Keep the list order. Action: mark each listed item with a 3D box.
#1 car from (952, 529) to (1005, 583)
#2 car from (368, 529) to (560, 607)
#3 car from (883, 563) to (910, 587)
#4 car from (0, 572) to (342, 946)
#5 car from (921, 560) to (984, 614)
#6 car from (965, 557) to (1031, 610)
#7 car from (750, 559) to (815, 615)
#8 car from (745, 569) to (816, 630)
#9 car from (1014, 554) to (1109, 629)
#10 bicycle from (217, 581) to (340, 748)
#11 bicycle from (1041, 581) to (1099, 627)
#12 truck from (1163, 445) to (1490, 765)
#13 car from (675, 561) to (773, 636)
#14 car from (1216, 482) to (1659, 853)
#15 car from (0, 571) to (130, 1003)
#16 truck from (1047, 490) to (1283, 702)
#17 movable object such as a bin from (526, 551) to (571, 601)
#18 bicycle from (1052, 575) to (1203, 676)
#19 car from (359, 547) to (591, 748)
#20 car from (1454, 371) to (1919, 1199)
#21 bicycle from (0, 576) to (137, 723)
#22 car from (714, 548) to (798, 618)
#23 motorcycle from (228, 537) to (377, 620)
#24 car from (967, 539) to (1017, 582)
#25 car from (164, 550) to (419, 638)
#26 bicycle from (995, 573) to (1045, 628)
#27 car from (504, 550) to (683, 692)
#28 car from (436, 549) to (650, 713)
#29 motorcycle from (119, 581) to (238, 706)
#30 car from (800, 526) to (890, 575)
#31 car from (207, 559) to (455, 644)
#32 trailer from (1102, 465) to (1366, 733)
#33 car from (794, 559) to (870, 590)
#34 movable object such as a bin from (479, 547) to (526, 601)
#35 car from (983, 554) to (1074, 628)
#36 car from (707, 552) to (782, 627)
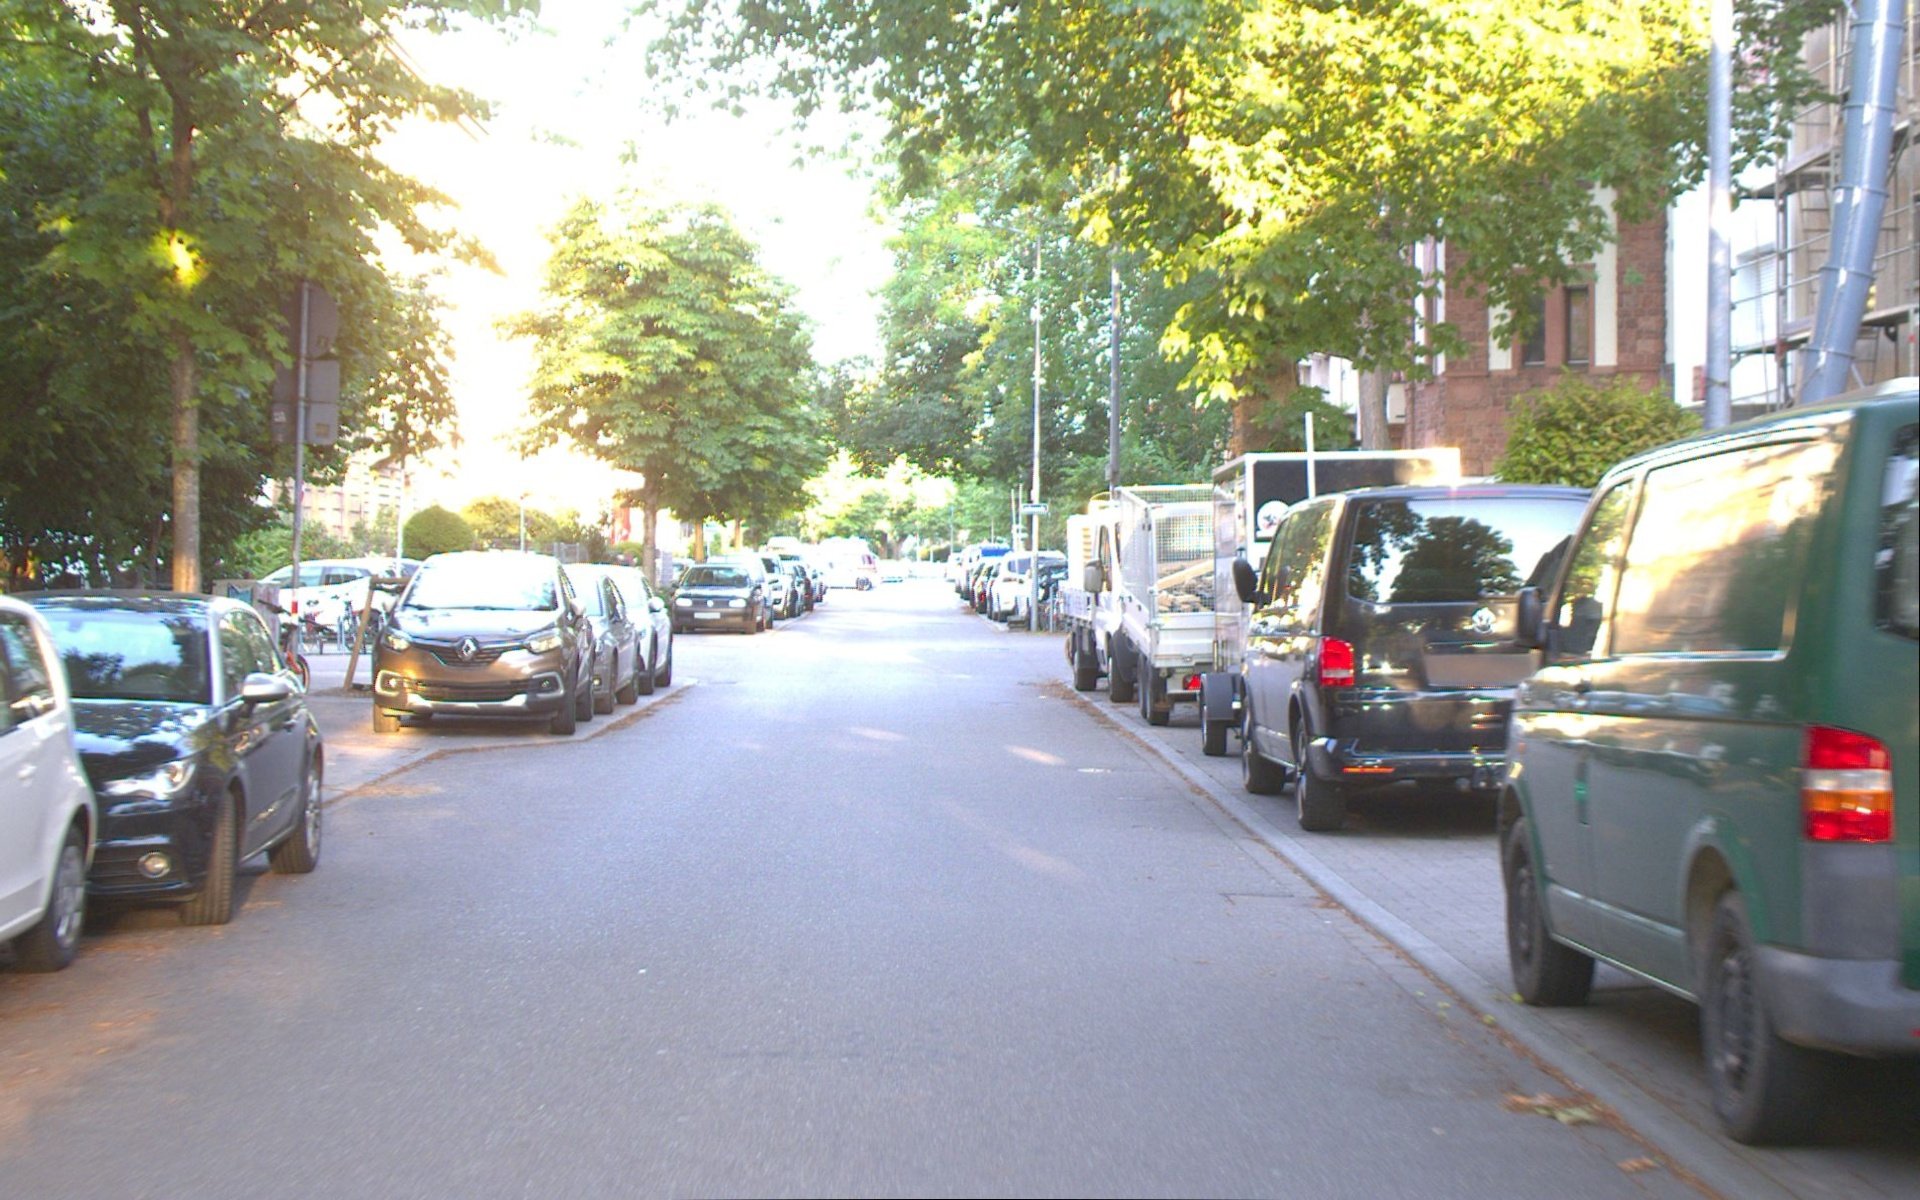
[{"bbox_3d":[0.672,-1.597,125.937,1.680,1.934,3.881,1,0,-3],"label":"car"},{"bbox_3d":[-11.271,-0.727,78.293,4.092,1.522,1.709,3,1,-2],"label":"car"},{"bbox_3d":[-4.372,-1.734,237.113,1.813,1.590,3.483,1,1,-1],"label":"car"},{"bbox_3d":[-3.907,0.637,15.928,1.551,1.480,3.694,0,1,-2],"label":"car"},{"bbox_3d":[-0.258,-0.410,105.164,1.686,1.600,3.940,1,0,-3],"label":"car"},{"bbox_3d":[1.059,-0.483,97.501,1.686,1.436,4.210,-2,1,-1],"label":"car"},{"bbox_3d":[-5.079,-0.393,98.935,1.715,1.561,3.788,1,1,-1],"label":"car"},{"bbox_3d":[-4.735,-0.005,91.103,1.715,1.561,3.781,1,0,-1],"label":"car"},{"bbox_3d":[2.219,-0.198,75.828,1.686,1.587,3.659,0,1,-5],"label":"car"},{"bbox_3d":[-5.481,0.498,27.728,0.482,1.251,1.900,4,1,2],"label":"bicycle"},{"bbox_3d":[2.342,0.076,72.977,1.224,0.948,0.330,-1,2,-28],"label":"bicycle"},{"bbox_3d":[2.791,-0.018,27.194,1.954,2.239,4.645,-2,1,-1],"label":"truck"},{"bbox_3d":[-4.839,-0.046,70.932,1.616,1.465,3.961,1,1,2],"label":"car"},{"bbox_3d":[2.763,0.310,20.943,1.839,1.936,4.614,-2,1,-2],"label":"car"},{"bbox_3d":[-4.115,0.645,11.935,1.551,1.480,3.694,3,1,-1],"label":"car"},{"bbox_3d":[2.258,-0.062,39.774,1.977,2.237,6.777,0,0,-3],"label":"truck"},{"bbox_3d":[-11.248,-0.655,93.989,1.013,1.316,1.005,3,1,4],"label":"movable object such as a bin"},{"bbox_3d":[2.203,0.330,45.345,1.902,1.254,0.407,-2,1,-6],"label":"bicycle"},{"bbox_3d":[-4.260,0.364,30.722,1.689,1.558,4.403,3,1,-4],"label":"car"},{"bbox_3d":[2.880,0.413,10.297,1.954,2.052,4.831,-2,1,-1],"label":"car"},{"bbox_3d":[-8.488,0.433,31.457,0.606,1.280,2.483,0,1,19],"label":"bicycle"},{"bbox_3d":[-5.154,-0.449,87.289,1.921,1.711,4.428,1,1,-1],"label":"car"},{"bbox_3d":[-13.145,-0.443,68.734,2.853,1.633,0.675,0,1,8],"label":"motorcycle"},{"bbox_3d":[1.127,-1.391,121.947,1.538,1.516,3.432,1,0,-3],"label":"car"},{"bbox_3d":[-11.839,-0.121,60.966,4.094,1.442,1.708,1,2,8],"label":"car"},{"bbox_3d":[1.286,0.006,73.191,0.444,1.169,1.634,1,0,24],"label":"bicycle"},{"bbox_3d":[-4.342,0.202,41.318,1.689,1.497,4.738,3,1,-1],"label":"car"},{"bbox_3d":[-4.292,0.298,35.936,1.689,1.497,4.402,4,0,-1],"label":"car"},{"bbox_3d":[-8.128,0.428,35.878,0.582,1.152,2.892,3,2,-1],"label":"motorcycle"},{"bbox_3d":[-5.648,-2.420,168.465,4.349,2.310,1.746,1,1,-2],"label":"car"},{"bbox_3d":[-11.501,0.008,62.936,4.094,1.442,1.817,1,2,10],"label":"car"},{"bbox_3d":[2.517,-0.046,32.688,1.954,2.288,4.645,-2,1,-1],"label":"trailer"},{"bbox_3d":[-6.176,-1.243,165.731,3.618,1.456,1.607,1,1,-4],"label":"car"},{"bbox_3d":[-12.482,-0.702,93.812,1.096,1.409,1.005,2,1,-15],"label":"movable object such as a bin"},{"bbox_3d":[1.613,-0.224,82.312,1.798,1.705,4.601,0,0,-3],"label":"car"},{"bbox_3d":[-4.770,-0.255,75.938,1.595,1.598,3.745,1,1,-4],"label":"car"}]
